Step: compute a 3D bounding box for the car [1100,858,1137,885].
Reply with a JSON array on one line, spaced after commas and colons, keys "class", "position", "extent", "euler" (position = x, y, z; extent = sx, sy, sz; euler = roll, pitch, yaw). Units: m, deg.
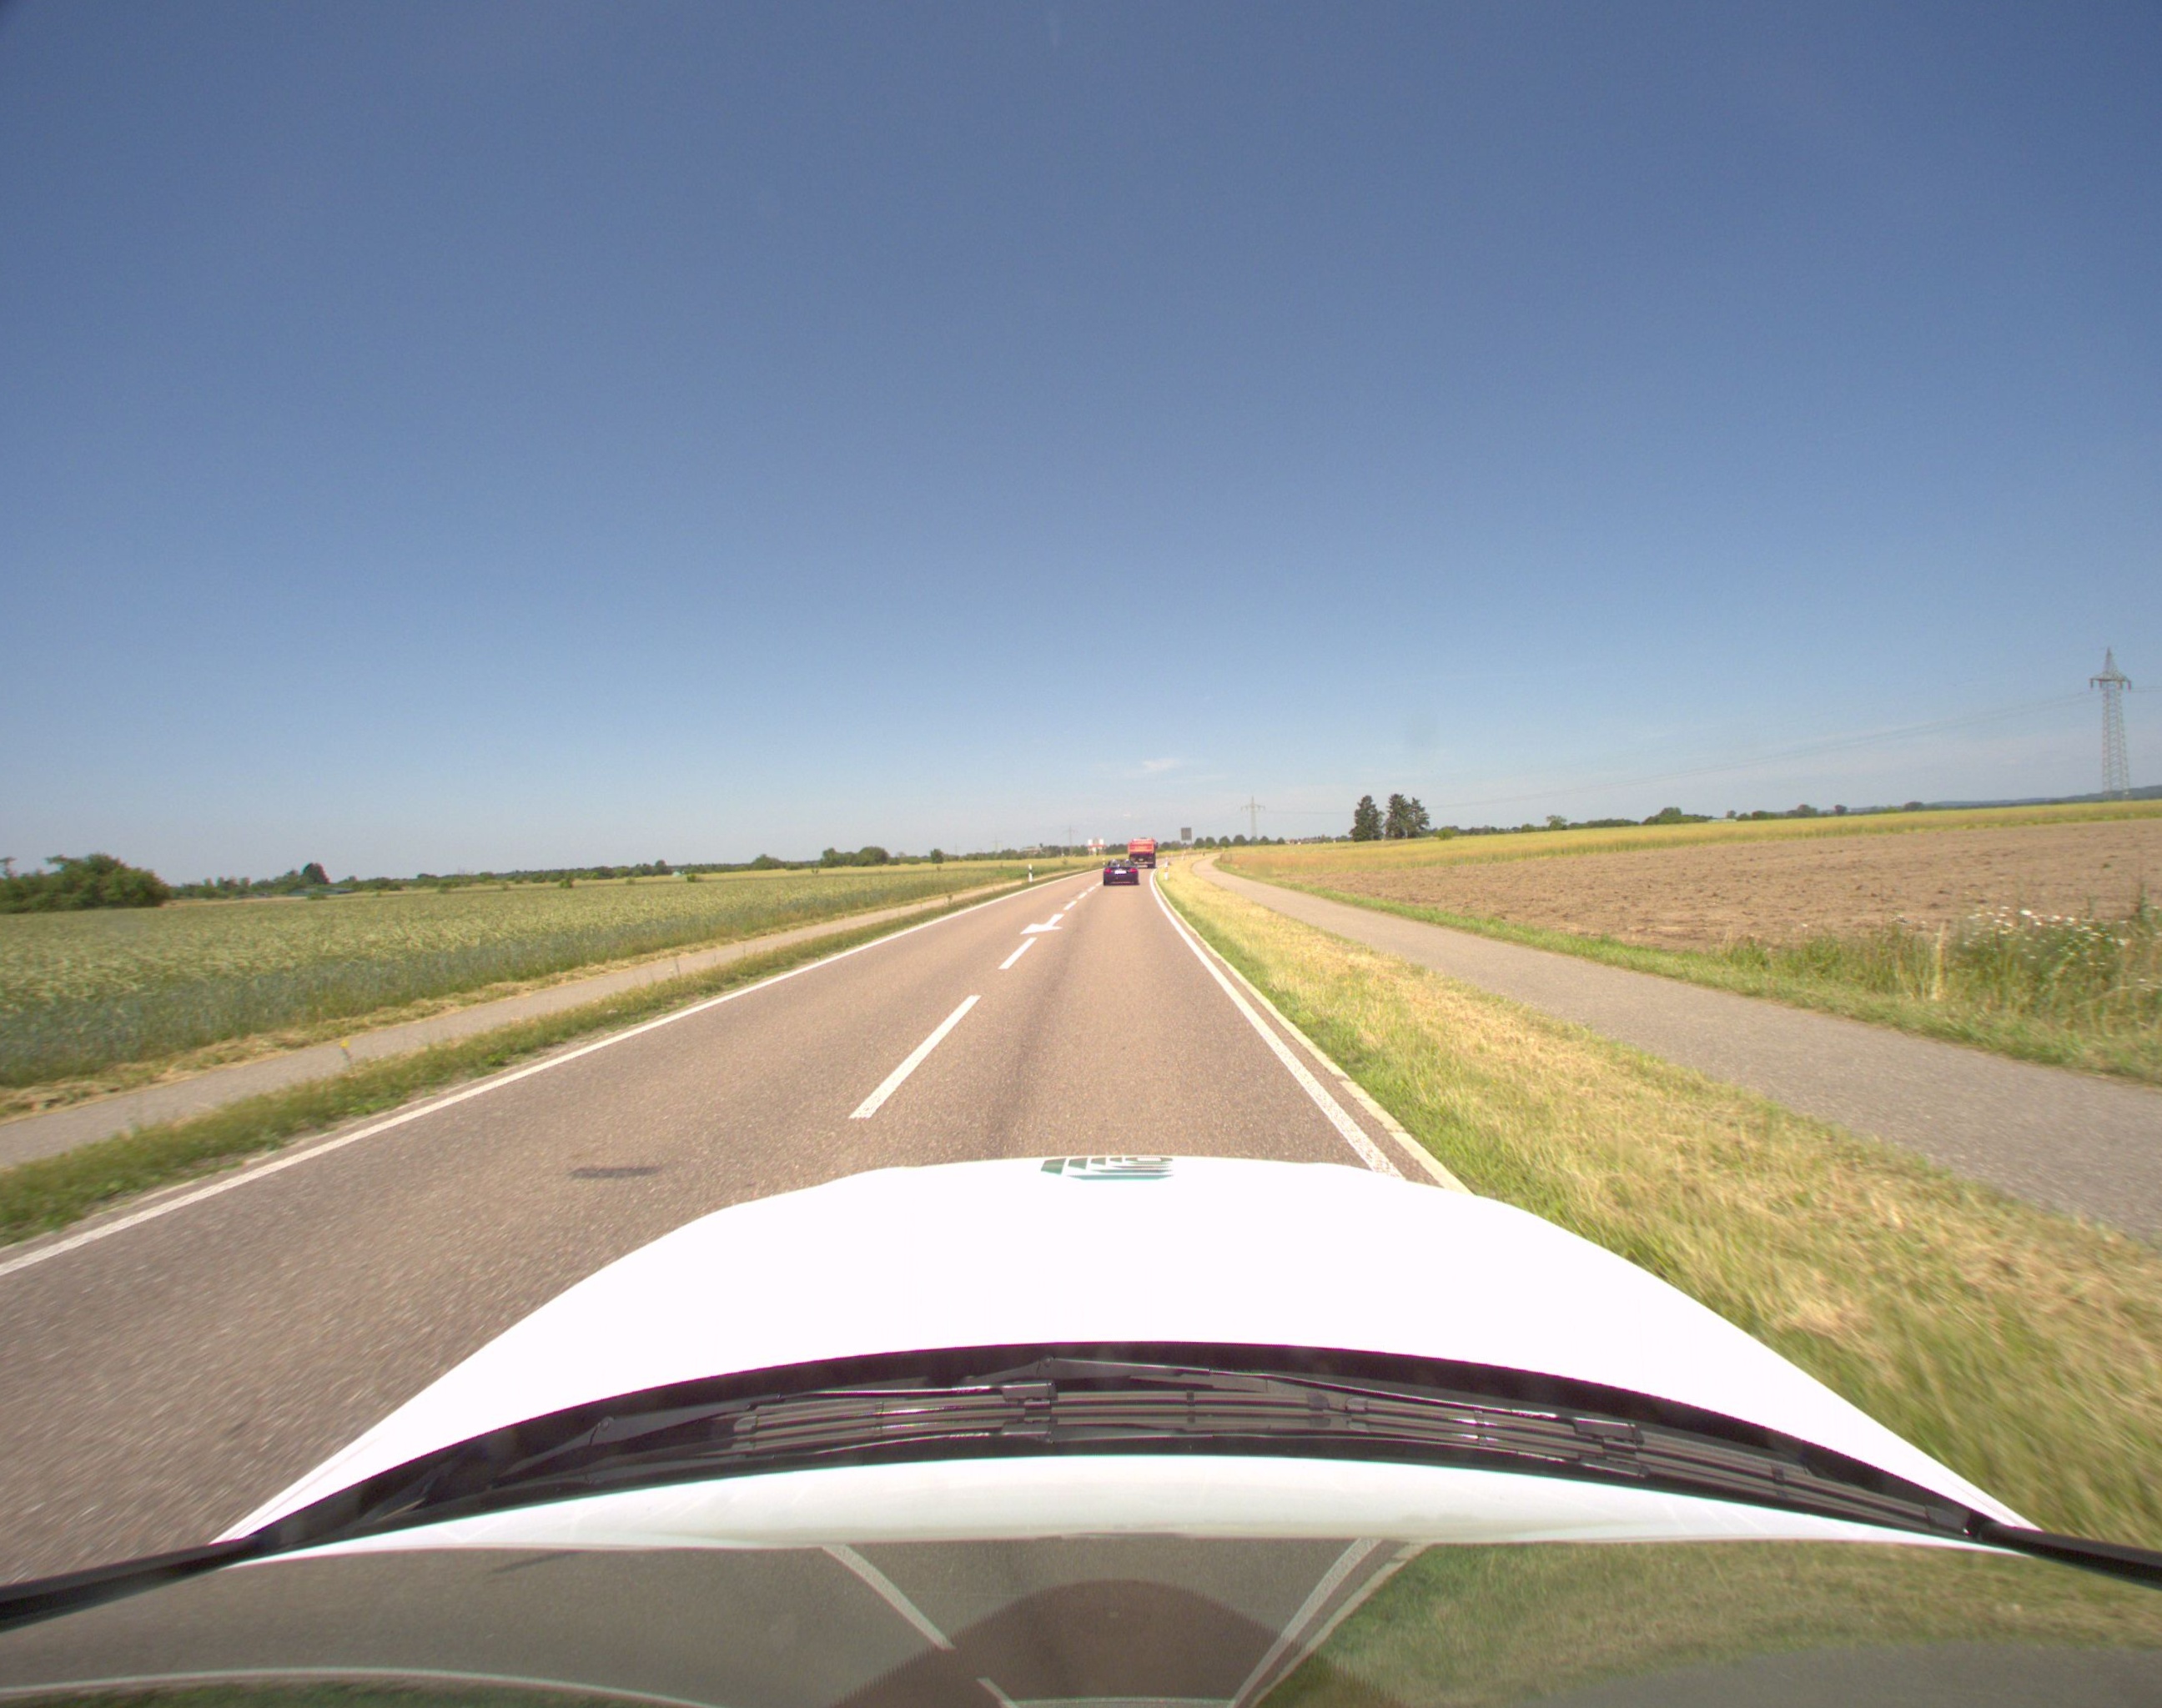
[{"class": "car", "position": [1.955, 0.870, 41.226], "extent": [1.736, 1.280, 4.005], "euler": [-1, 0, 4]}]

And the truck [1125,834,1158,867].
[{"class": "truck", "position": [6.159, -0.327, 82.151], "extent": [2.923, 3.089, 7.208], "euler": [-2, -1, 6]}]
